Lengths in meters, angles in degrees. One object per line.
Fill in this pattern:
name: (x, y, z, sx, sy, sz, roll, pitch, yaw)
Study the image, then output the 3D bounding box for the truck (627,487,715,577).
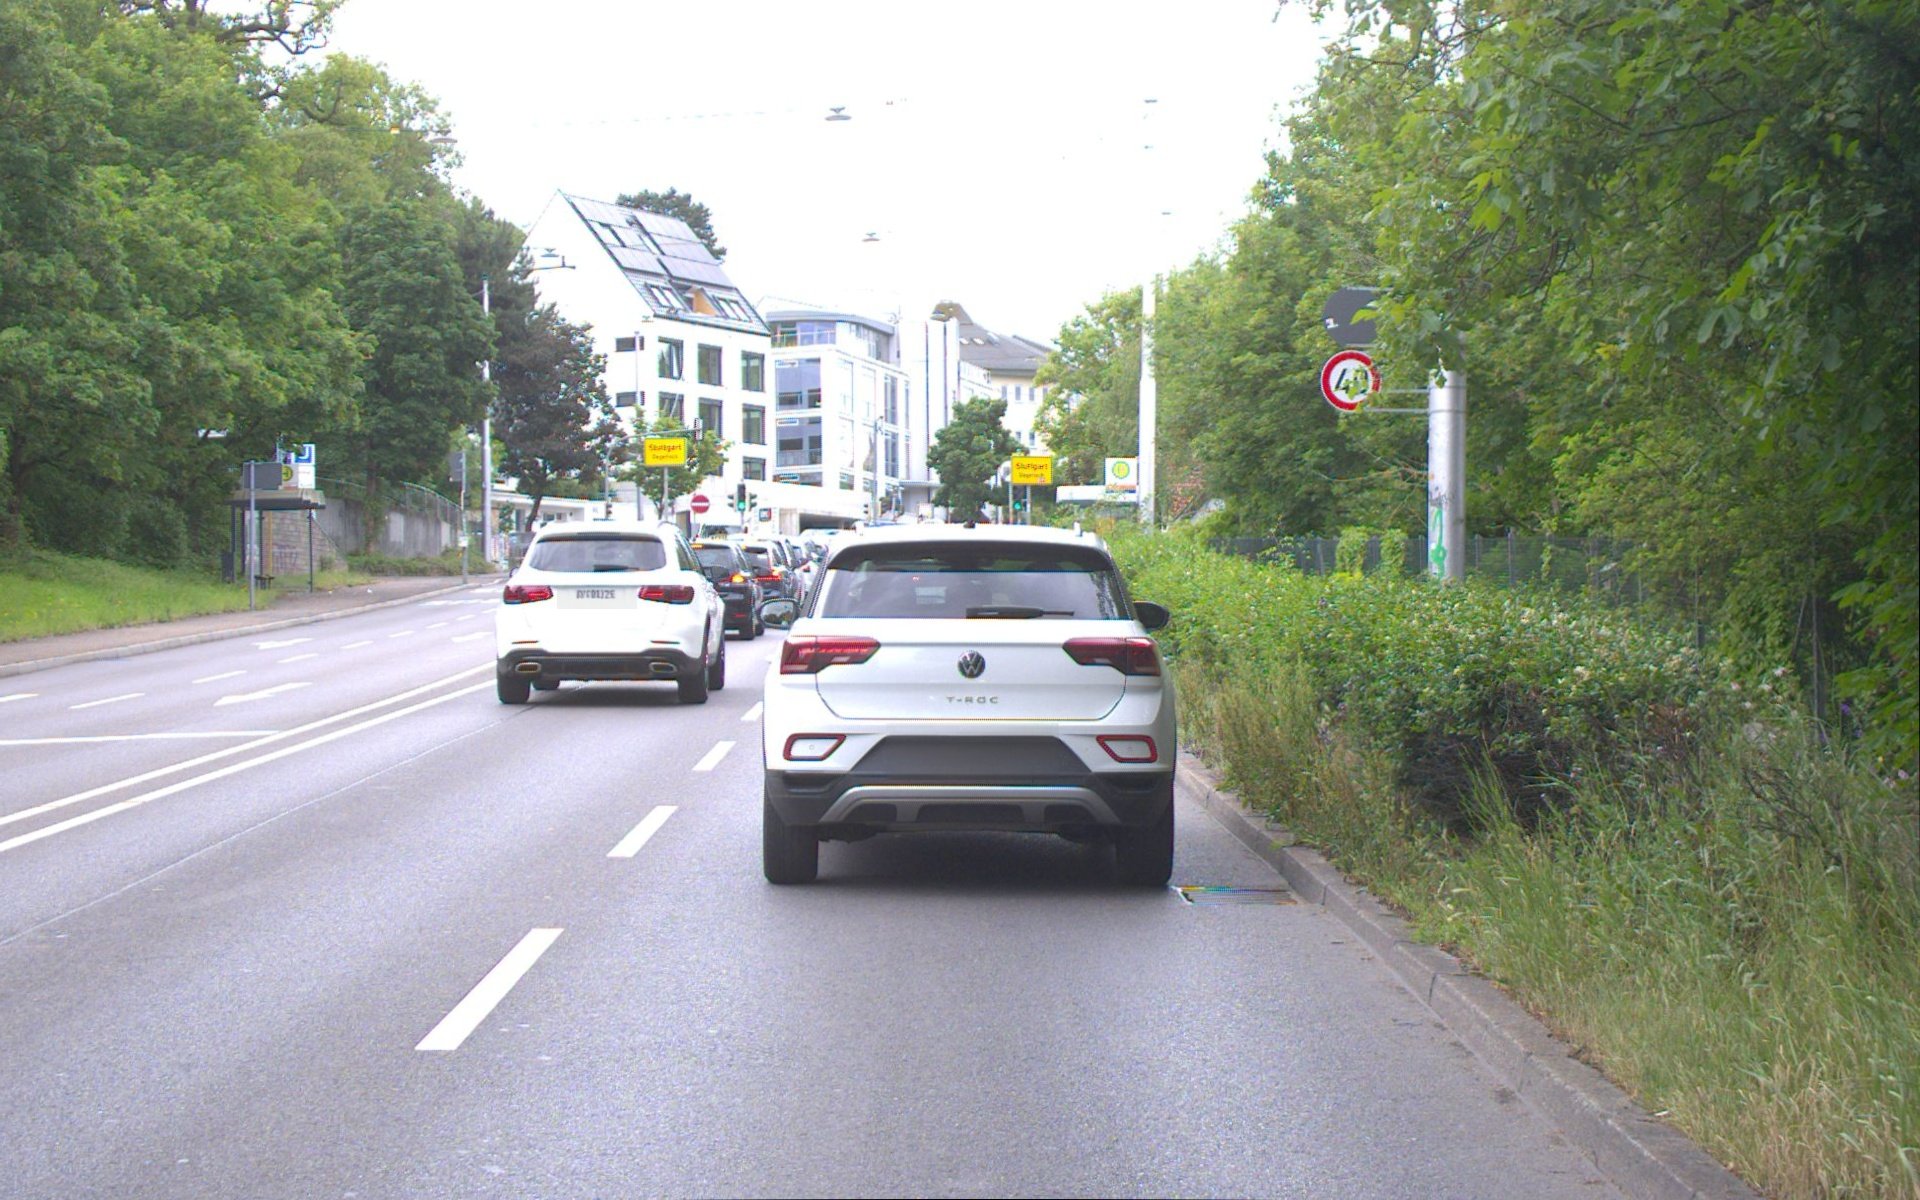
truck: (-9.047, -2.130, 108.037, 2.362, 2.697, 4.478, -2, 1, -1)

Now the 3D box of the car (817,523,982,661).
car: (-0.703, -0.125, 40.696, 1.829, 1.520, 4.000, -1, 1, -1)

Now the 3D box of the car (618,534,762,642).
car: (-3.927, -0.205, 50.602, 1.829, 1.492, 4.000, -1, 1, -1)

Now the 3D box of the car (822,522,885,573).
car: (-3.237, -1.616, 105.278, 1.829, 1.520, 4.000, -1, 1, -1)

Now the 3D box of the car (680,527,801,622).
car: (-3.705, -0.462, 58.493, 1.829, 1.520, 4.000, -1, 1, -1)

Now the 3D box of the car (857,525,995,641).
car: (-0.490, -0.265, 48.252, 1.829, 1.520, 4.000, -1, 1, -1)

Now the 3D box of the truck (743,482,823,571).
truck: (-5.762, -2.406, 112.452, 2.362, 2.772, 4.478, -2, 1, -1)

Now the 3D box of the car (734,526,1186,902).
car: (-0.026, 0.425, 16.013, 1.829, 1.520, 4.000, 0, 1, -1)

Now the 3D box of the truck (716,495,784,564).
truck: (-9.566, -3.208, 157.300, 2.293, 3.040, 6.979, -1, 1, 3)

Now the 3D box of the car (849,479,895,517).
car: (-3.658, -4.243, 143.610, 1.829, 1.520, 4.000, -1, 1, -1)

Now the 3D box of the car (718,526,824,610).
car: (-3.596, -0.631, 66.020, 1.829, 1.520, 4.000, -1, 1, -1)

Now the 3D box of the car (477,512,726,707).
car: (-3.226, 0.043, 31.643, 1.918, 1.664, 4.000, 0, 1, -1)

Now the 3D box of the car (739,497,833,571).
car: (-3.697, -1.412, 73.528, 1.829, 1.520, 4.000, -1, 1, -1)
